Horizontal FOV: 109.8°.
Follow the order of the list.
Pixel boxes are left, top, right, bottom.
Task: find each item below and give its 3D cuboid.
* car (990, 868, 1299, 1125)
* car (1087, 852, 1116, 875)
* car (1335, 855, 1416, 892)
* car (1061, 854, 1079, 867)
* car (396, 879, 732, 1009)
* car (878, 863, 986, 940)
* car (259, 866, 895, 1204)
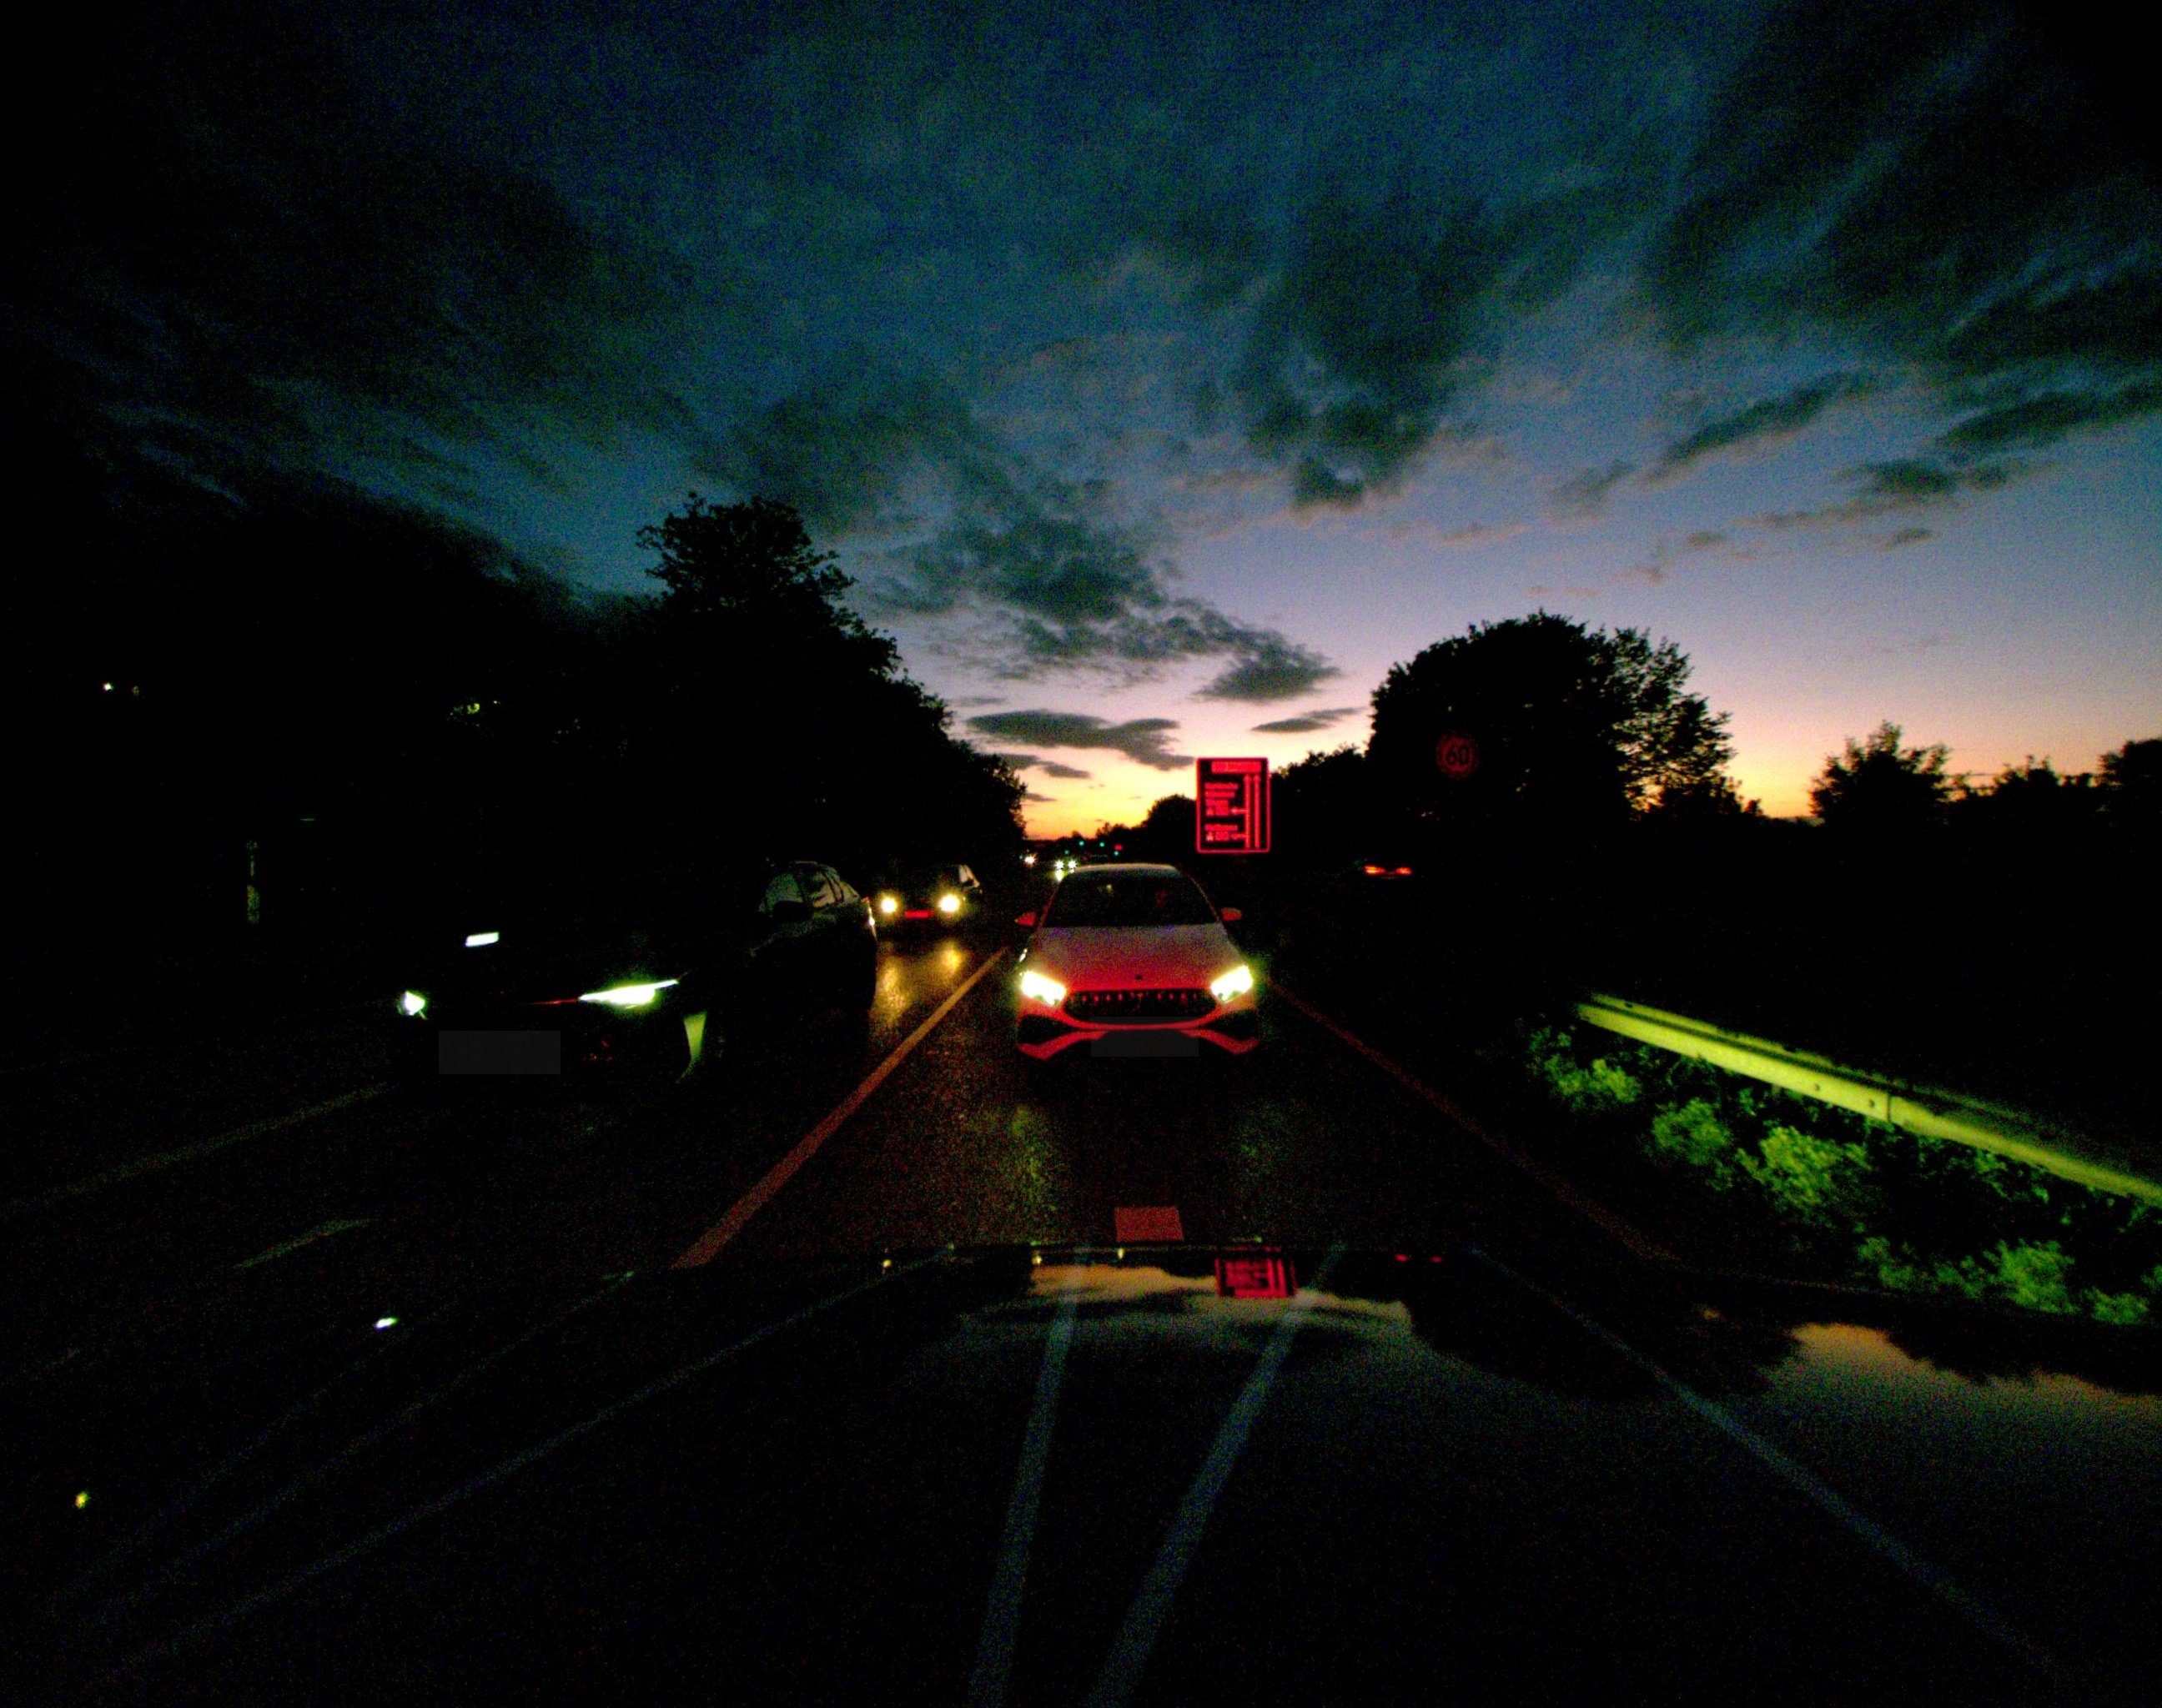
[{"bbox_3d":[0.399,0.938,7.029,1.901,1.472,4.514,-2,0,0],"label":"car"},{"bbox_3d":[1.497,0.707,57.007,1.999,1.602,4.501,-1,0,-1],"label":"car"},{"bbox_3d":[13.090,0.828,34.019,1.998,1.510,4.297,-1,0,1],"label":"car"},{"bbox_3d":[-1.324,0.777,90.517,1.999,1.423,4.501,0,0,-1],"label":"car"},{"bbox_3d":[-7.519,1.198,11.816,1.923,1.423,4.703,-1,0,1],"label":"car"},{"bbox_3d":[-3.286,0.994,17.472,1.624,1.460,3.871,-2,0,1],"label":"car"},{"bbox_3d":[-3.169,0.974,6.260,1.998,1.600,4.711,-2,0,1],"label":"car"}]
